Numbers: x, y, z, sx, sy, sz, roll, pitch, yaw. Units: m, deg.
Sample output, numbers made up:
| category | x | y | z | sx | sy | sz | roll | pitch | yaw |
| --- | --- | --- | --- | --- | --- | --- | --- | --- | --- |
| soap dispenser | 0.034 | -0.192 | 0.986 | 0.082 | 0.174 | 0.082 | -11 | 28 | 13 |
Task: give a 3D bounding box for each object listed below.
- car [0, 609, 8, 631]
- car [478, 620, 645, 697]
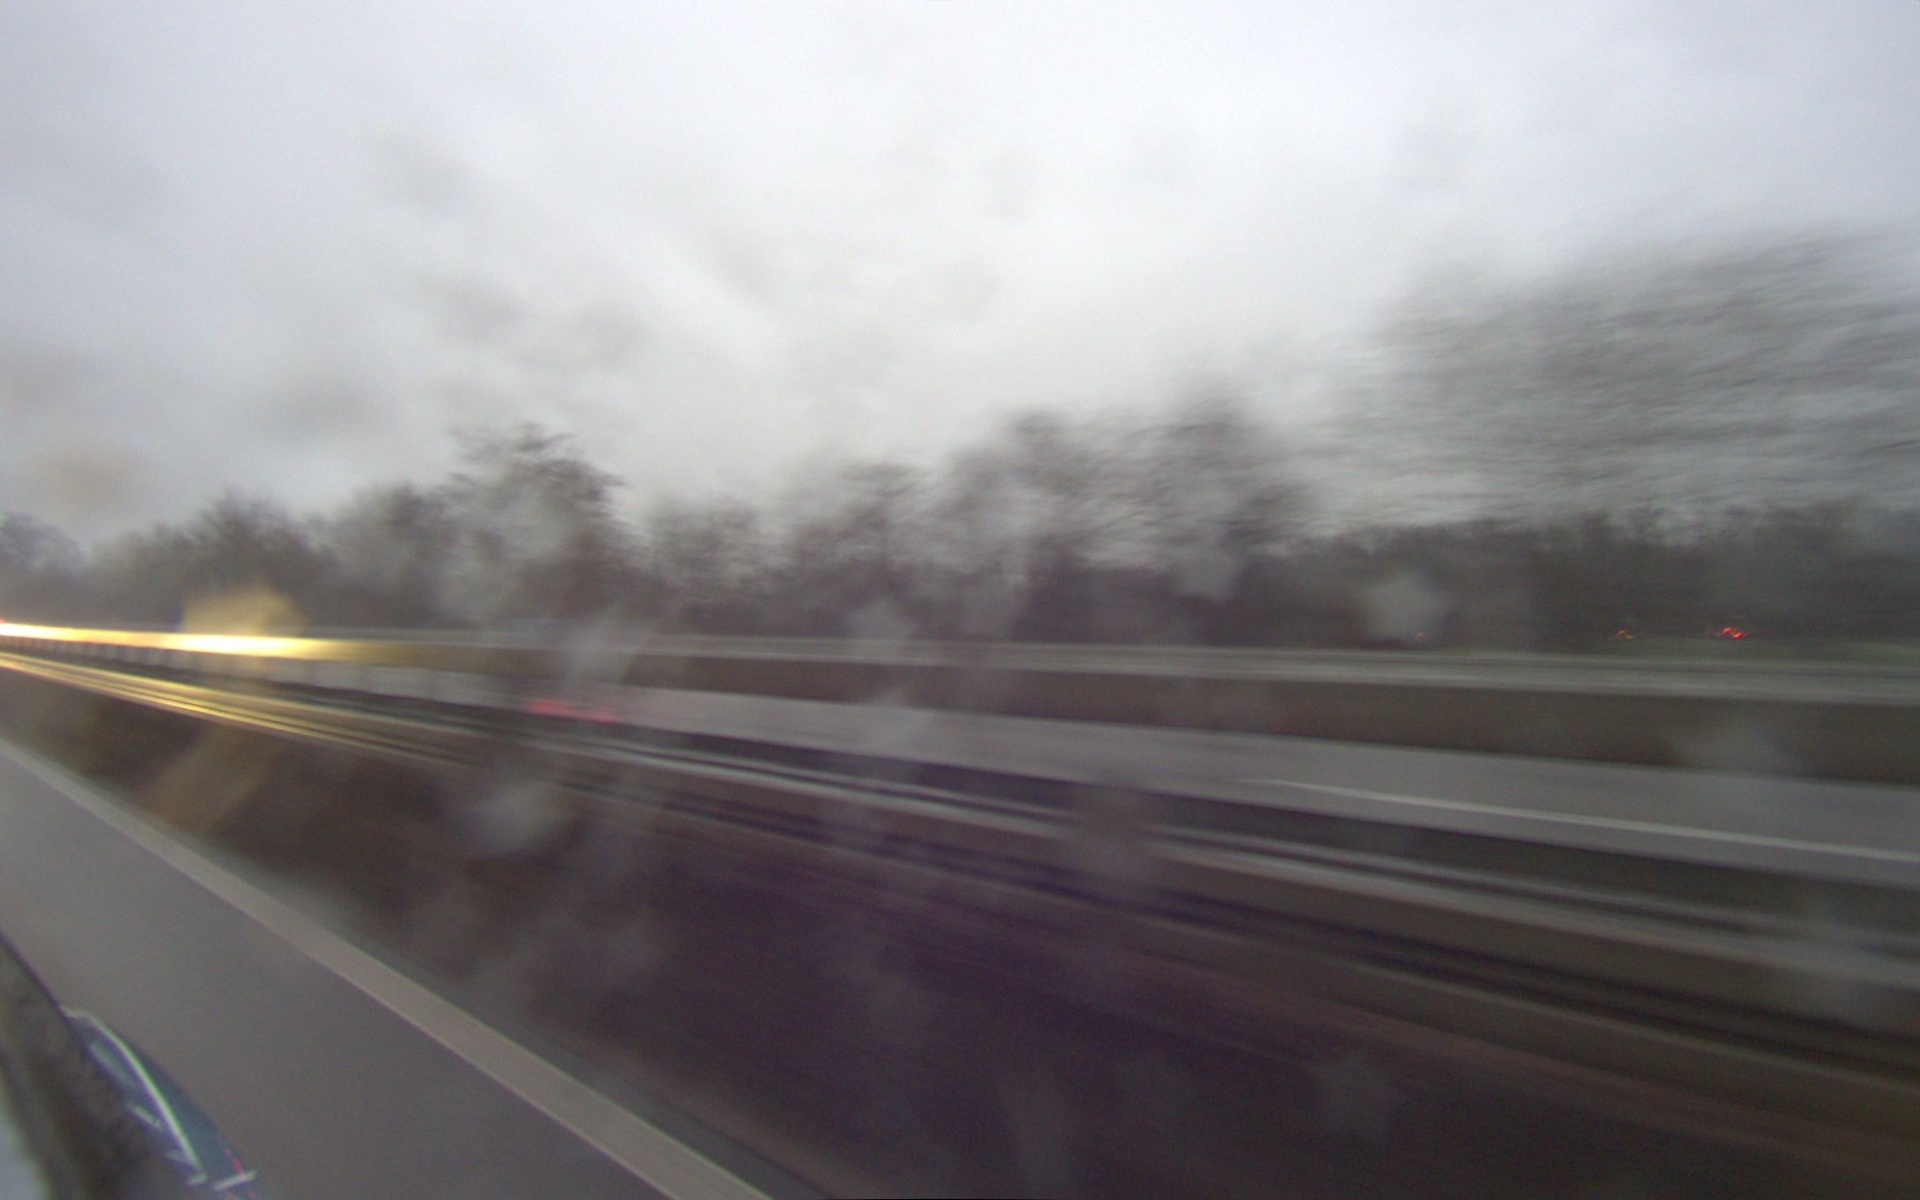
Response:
| category | x | y | z | sx | sy | sz | roll | pitch | yaw |
| --- | --- | --- | --- | --- | --- | --- | --- | --- | --- |
| car | -63.385 | 1.295 | 65.798 | 3.541 | 1.434 | 1.586 | -1 | -2 | 37 |
| car | -8.279 | 1.131 | 20.848 | 3.998 | 1.375 | 1.517 | -1 | 1 | 41 |
